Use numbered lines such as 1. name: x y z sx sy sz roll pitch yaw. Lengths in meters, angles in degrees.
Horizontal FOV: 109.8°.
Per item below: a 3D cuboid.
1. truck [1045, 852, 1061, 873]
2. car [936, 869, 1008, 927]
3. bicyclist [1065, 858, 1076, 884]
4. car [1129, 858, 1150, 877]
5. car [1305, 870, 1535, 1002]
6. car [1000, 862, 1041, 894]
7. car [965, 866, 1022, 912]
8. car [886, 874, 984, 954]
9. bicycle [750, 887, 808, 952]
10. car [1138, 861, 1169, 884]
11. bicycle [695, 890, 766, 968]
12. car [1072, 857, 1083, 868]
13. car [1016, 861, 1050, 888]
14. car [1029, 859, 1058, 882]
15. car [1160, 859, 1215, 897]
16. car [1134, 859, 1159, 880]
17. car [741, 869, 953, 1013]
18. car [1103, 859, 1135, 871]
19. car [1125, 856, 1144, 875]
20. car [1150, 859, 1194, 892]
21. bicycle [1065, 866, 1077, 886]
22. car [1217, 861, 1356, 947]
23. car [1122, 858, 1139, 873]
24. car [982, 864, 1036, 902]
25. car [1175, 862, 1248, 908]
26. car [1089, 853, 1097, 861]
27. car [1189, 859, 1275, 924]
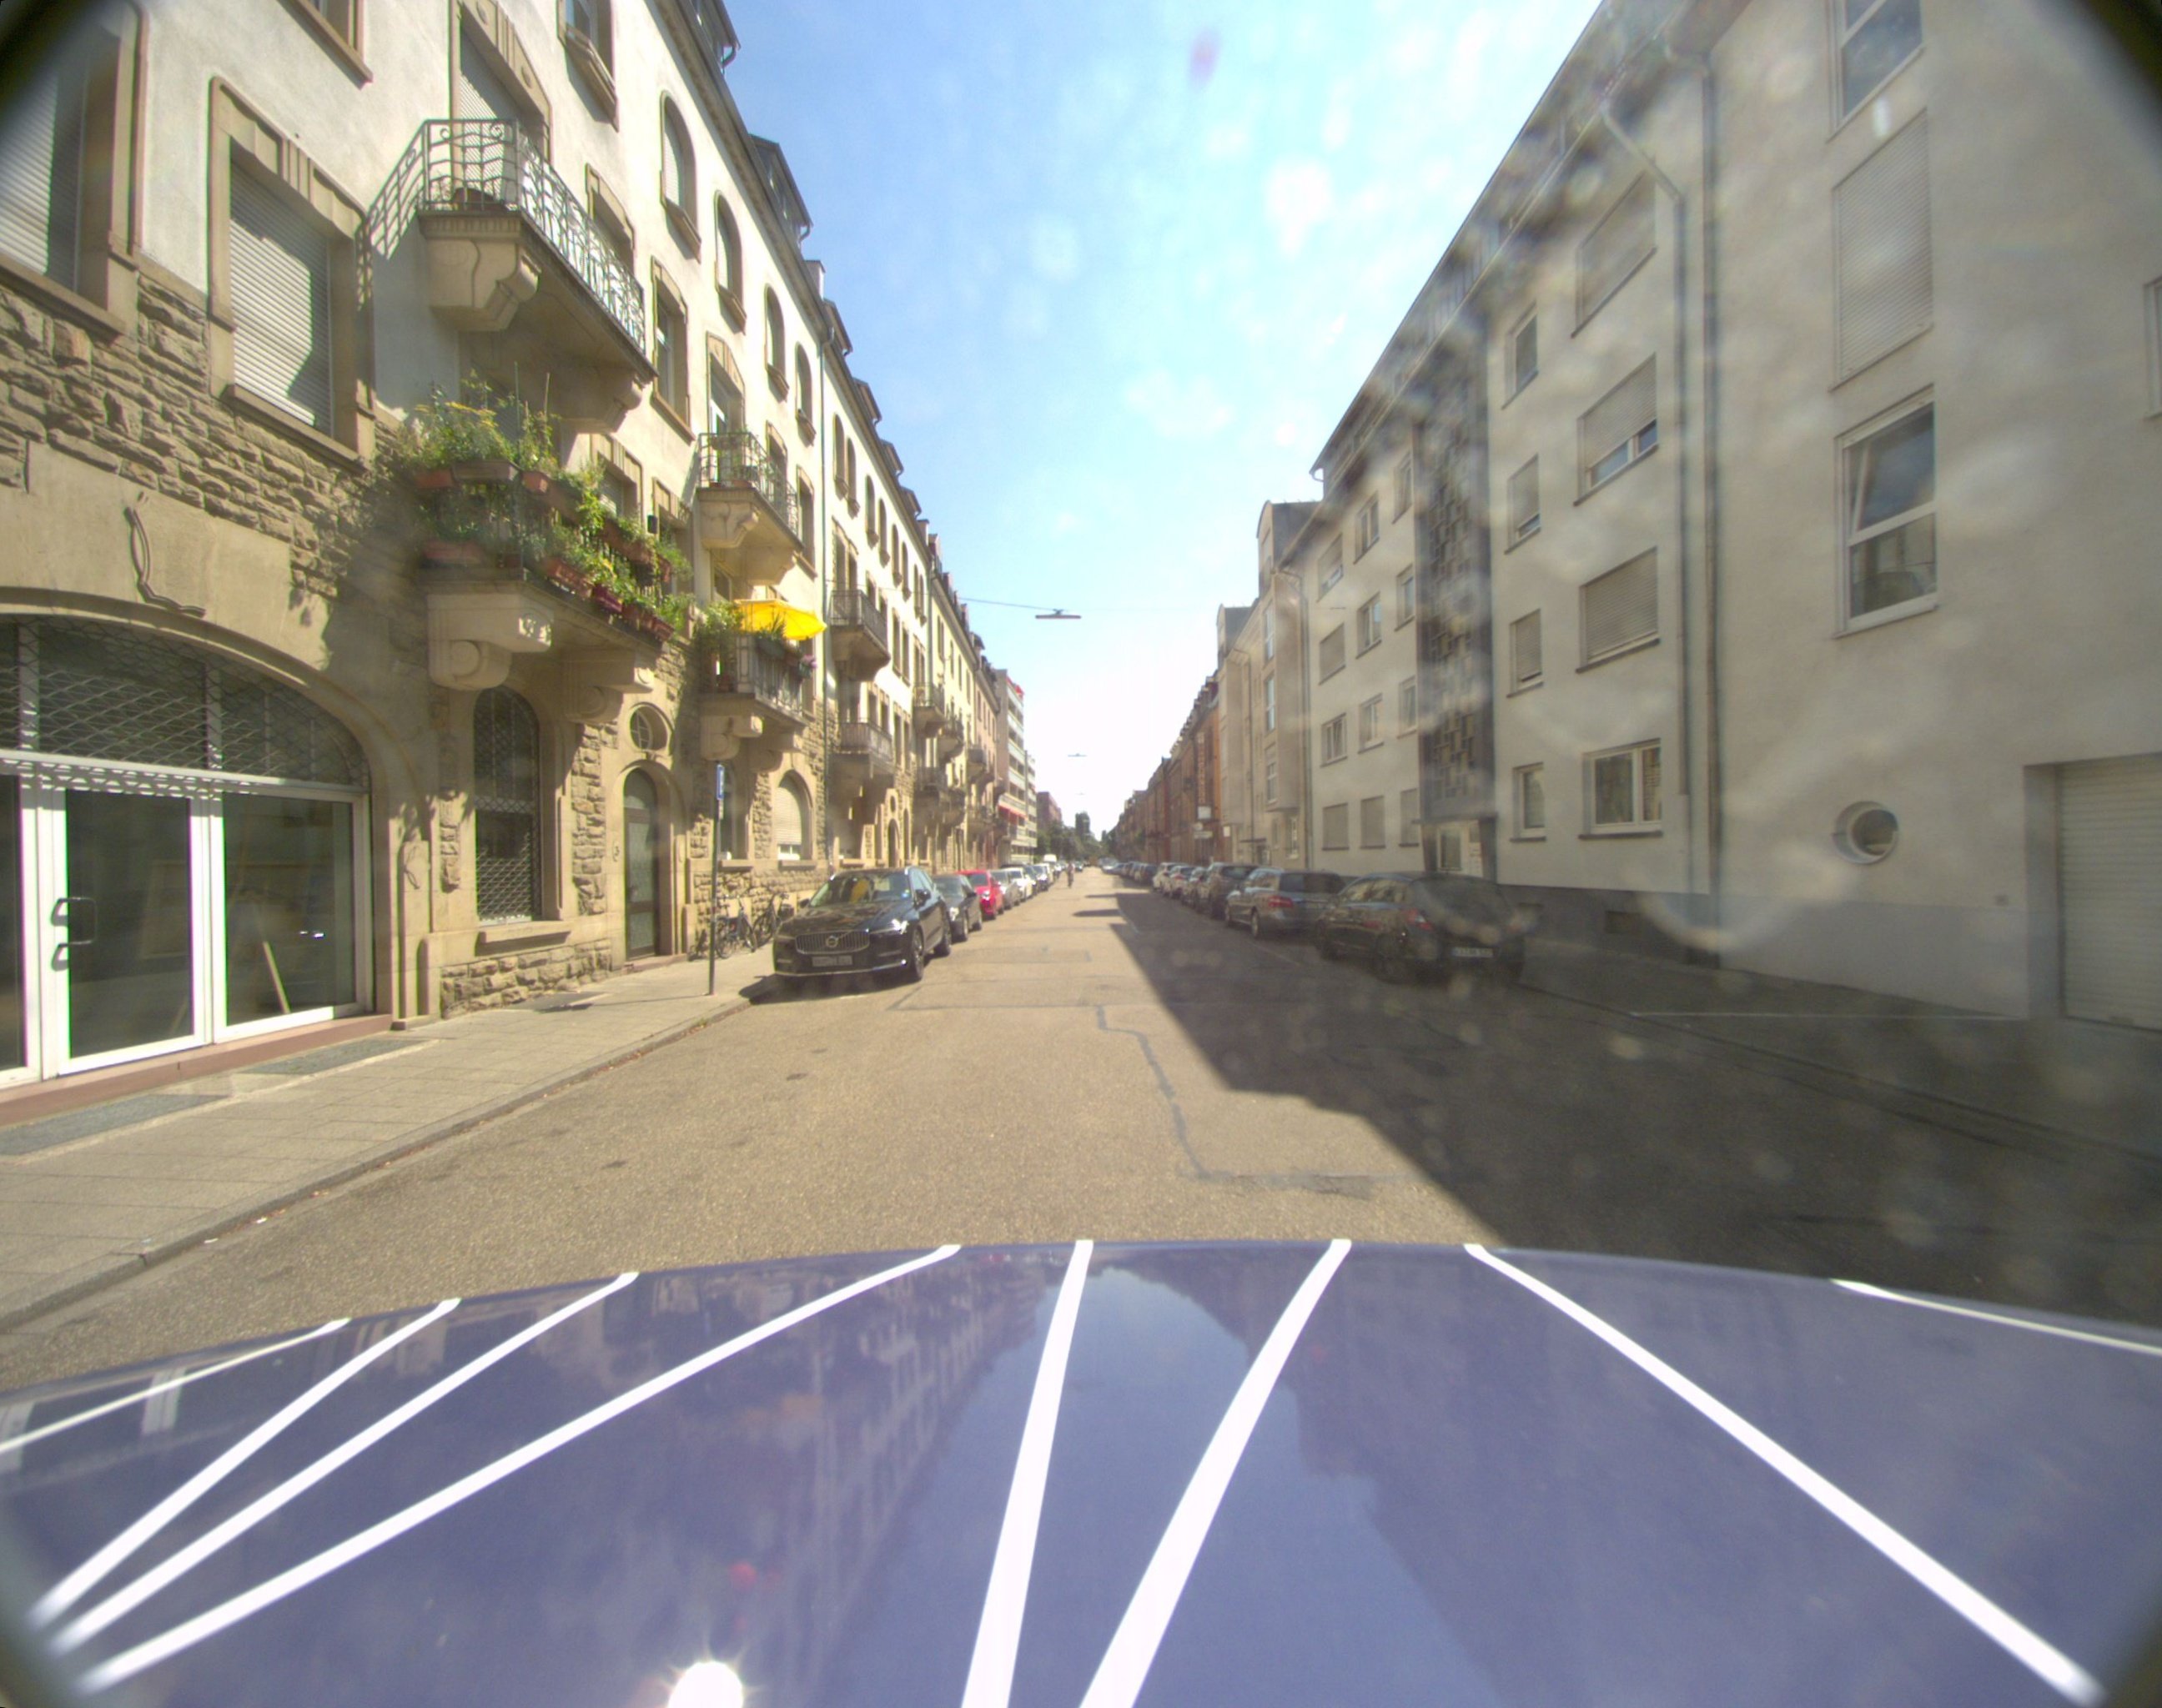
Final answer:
1. truck: -3.786 1.128 102.396 1.869 2.715 4.507 0 0 0
2. car: -3.252 1.280 23.302 1.574 1.444 3.842 -3 0 0
3. bicyclist: -0.633 1.047 47.345 0.645 1.640 0.622 0 1 1
4. car: 5.065 1.163 66.315 1.450 1.464 3.525 3 0 -2
5. car: 4.692 1.035 11.182 1.571 1.483 3.893 1 0 -1
6. car: -3.048 1.195 39.354 1.741 1.449 4.668 0 0 0
7. car: -3.216 1.264 28.575 1.593 1.444 3.856 -3 0 0
8. car: -3.158 1.243 17.084 1.516 1.390 3.971 -3 0 -2
9. bicycle: -6.249 1.325 15.804 0.442 1.201 1.775 0 0 1
10. car: 4.916 1.222 51.841 1.781 1.421 3.837 3 0 2
11. bicycle: -6.178 1.294 13.487 0.385 1.201 1.775 0 0 1
12. car: -0.534 1.318 114.174 1.625 1.600 3.597 0 0 0
13. car: -2.820 1.184 45.314 1.828 1.423 4.488 -1 0 -2
14. car: -2.707 1.167 55.996 1.651 1.613 4.093 0 0 4
15. car: 4.706 1.040 34.069 1.735 1.486 4.348 2 0 -1
16. car: 4.904 1.158 57.099 1.632 1.421 3.678 3 0 2
17. car: -3.218 1.100 11.522 1.838 1.558 4.604 -3 0 -2
18. car: 4.690 1.413 94.105 3.996 1.422 1.678 0 1 1
19. car: 5.061 1.096 72.513 1.450 1.633 3.525 3 0 -1
20. car: 4.871 1.113 41.089 1.633 1.540 3.852 3 0 -3
21. bicycle: -0.633 1.345 47.356 0.671 1.169 2.094 0 0 1
22. car: 4.249 0.955 16.496 1.661 1.510 4.670 1 0 -1
23. car: 4.992 1.204 77.450 1.450 1.391 3.526 3 0 1
24. car: -3.109 1.234 33.813 1.720 1.444 4.597 -3 0 2
25. car: 4.577 1.050 27.274 1.769 1.385 4.348 1 0 -1
26. car: 3.084 0.745 191.760 1.785 2.002 4.001 -1 0 3
27. car: 4.262 1.002 22.008 1.608 1.634 3.976 1 0 -1
